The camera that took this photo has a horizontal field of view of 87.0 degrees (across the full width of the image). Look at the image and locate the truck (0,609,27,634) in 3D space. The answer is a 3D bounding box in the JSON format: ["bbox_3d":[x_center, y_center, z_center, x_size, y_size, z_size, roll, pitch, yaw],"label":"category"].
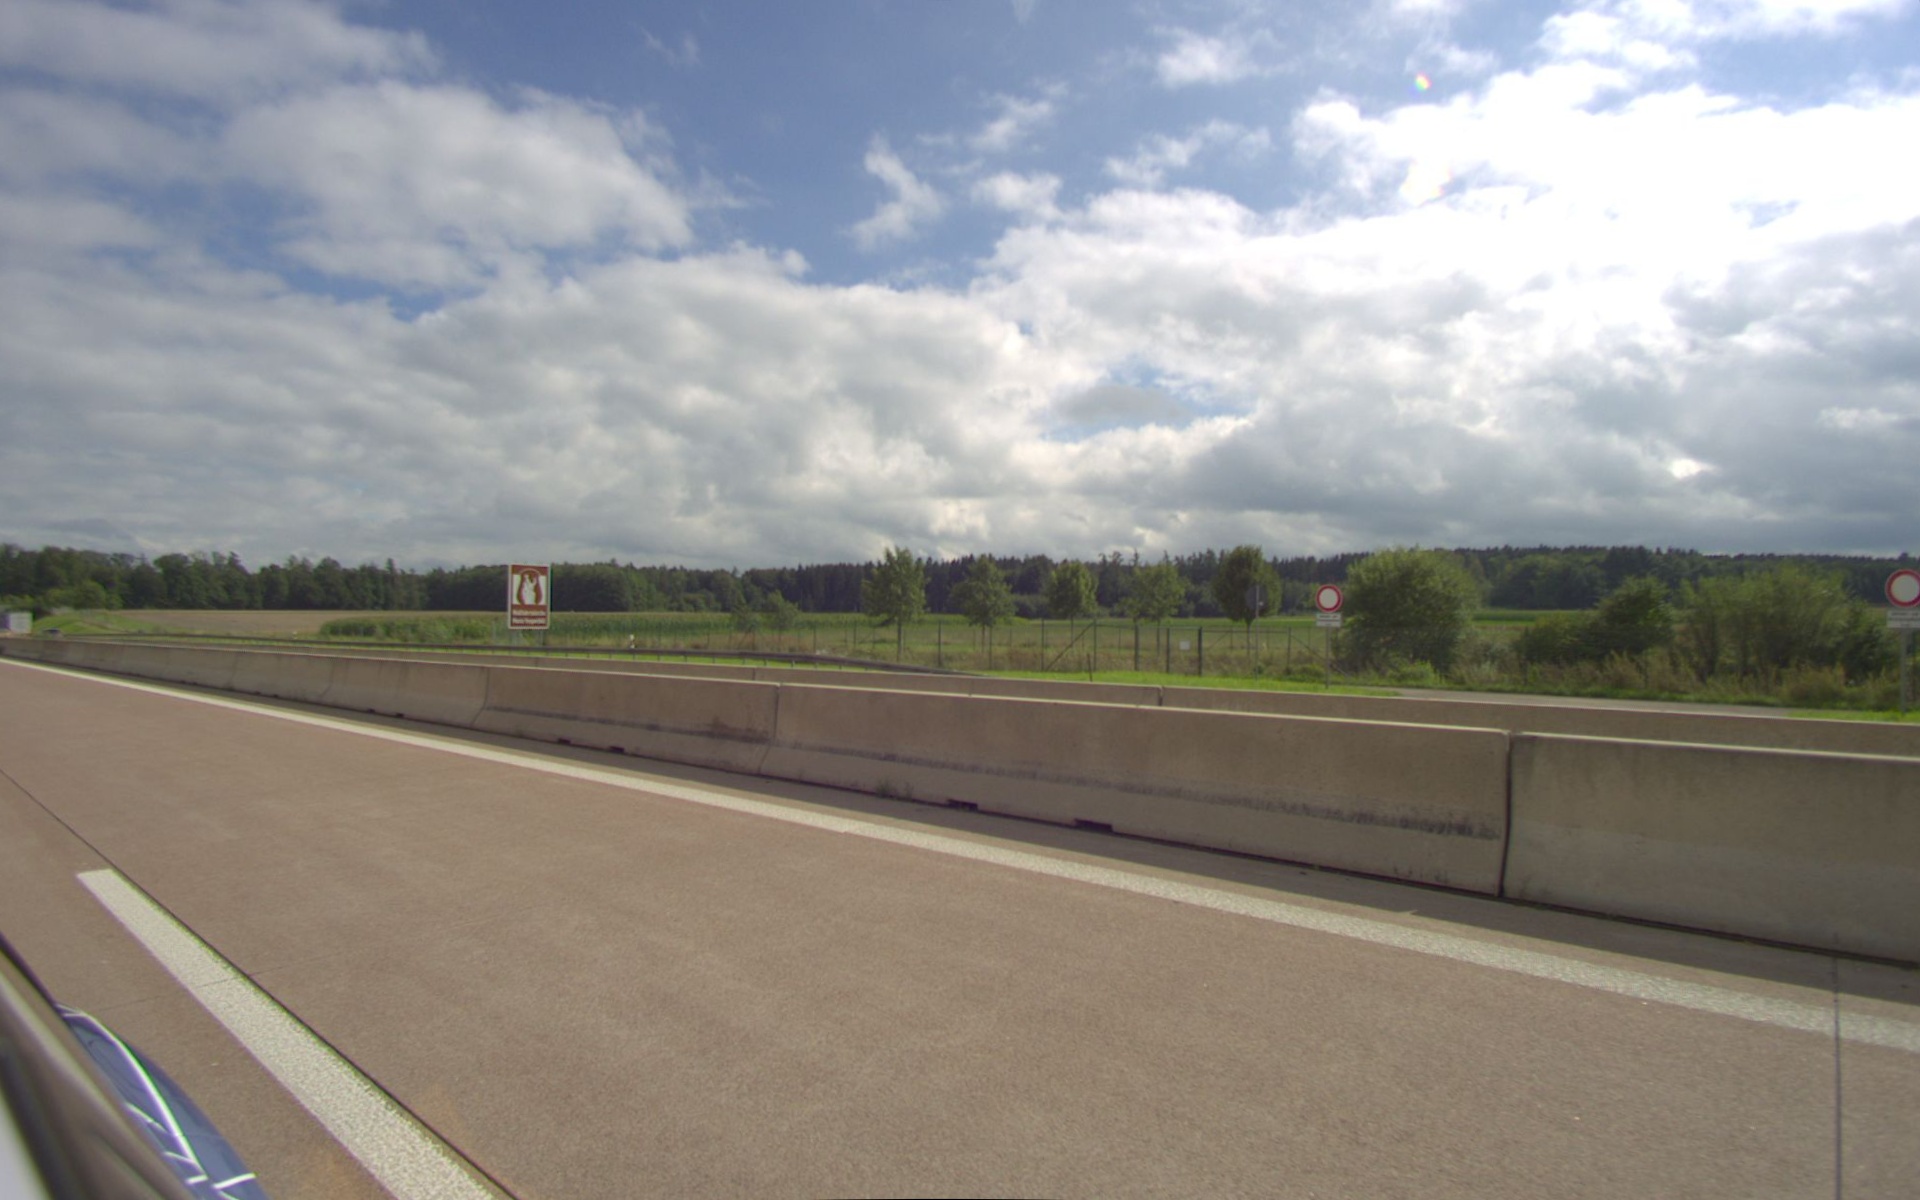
[{"bbox_3d":[-145.404,3.289,154.613,7.462,3.853,3.374,-2,-2,42],"label":"truck"}]

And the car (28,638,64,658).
[{"bbox_3d":[-88.862,4.657,98.369,4.192,1.875,1.973,-2,-2,40],"label":"car"}]

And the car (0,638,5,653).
[{"bbox_3d":[-123.293,5.791,128.922,3.997,1.875,1.973,-2,-2,40],"label":"car"}]

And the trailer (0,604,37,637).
[{"bbox_3d":[-139.212,3.104,149.059,13.865,4.611,3.369,-2,-2,42],"label":"trailer"}]
